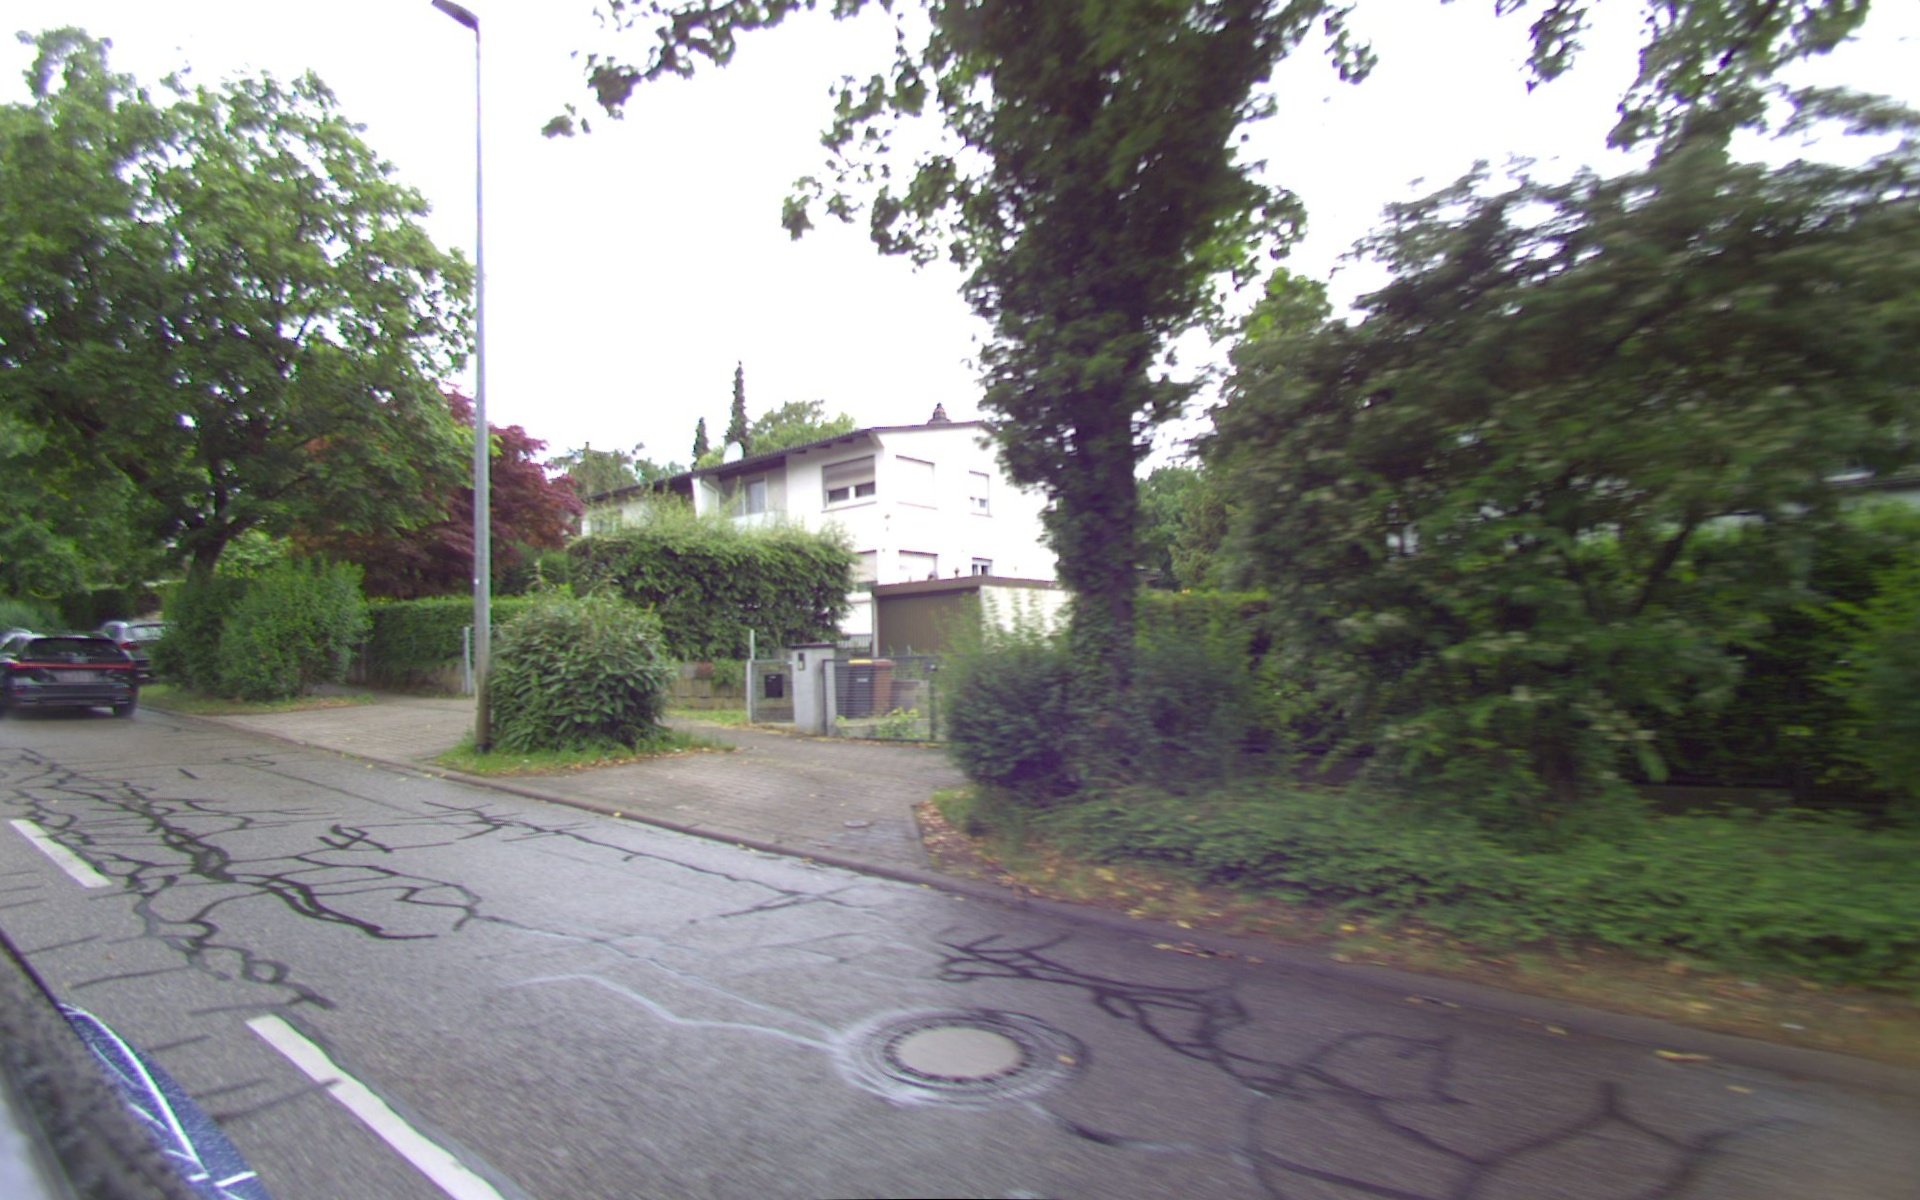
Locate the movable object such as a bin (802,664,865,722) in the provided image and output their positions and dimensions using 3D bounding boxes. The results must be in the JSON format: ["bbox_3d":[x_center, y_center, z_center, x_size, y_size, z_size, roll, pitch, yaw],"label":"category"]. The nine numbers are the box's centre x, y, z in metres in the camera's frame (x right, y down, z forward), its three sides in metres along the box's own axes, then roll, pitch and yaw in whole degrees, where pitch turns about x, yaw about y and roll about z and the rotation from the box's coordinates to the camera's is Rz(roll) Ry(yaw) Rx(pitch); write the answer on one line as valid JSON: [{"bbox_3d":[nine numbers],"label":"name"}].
[{"bbox_3d":[-1.916,1.395,15.332,0.633,0.831,0.701,-2,-2,39],"label":"movable object such as a bin"}]

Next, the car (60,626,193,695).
[{"bbox_3d":[-21.222,1.472,25.719,4.277,1.554,1.648,-1,1,37],"label":"car"}]

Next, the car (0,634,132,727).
[{"bbox_3d":[-15.905,1.308,17.393,4.321,1.373,1.737,-1,-4,40],"label":"car"}]

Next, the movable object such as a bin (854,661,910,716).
[{"bbox_3d":[-1.248,1.402,16.179,0.633,0.831,0.626,-2,-2,39],"label":"movable object such as a bin"}]

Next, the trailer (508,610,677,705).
[{"bbox_3d":[-7.803,1.290,21.729,1.421,1.813,3.091,-3,-8,34],"label":"trailer"}]
